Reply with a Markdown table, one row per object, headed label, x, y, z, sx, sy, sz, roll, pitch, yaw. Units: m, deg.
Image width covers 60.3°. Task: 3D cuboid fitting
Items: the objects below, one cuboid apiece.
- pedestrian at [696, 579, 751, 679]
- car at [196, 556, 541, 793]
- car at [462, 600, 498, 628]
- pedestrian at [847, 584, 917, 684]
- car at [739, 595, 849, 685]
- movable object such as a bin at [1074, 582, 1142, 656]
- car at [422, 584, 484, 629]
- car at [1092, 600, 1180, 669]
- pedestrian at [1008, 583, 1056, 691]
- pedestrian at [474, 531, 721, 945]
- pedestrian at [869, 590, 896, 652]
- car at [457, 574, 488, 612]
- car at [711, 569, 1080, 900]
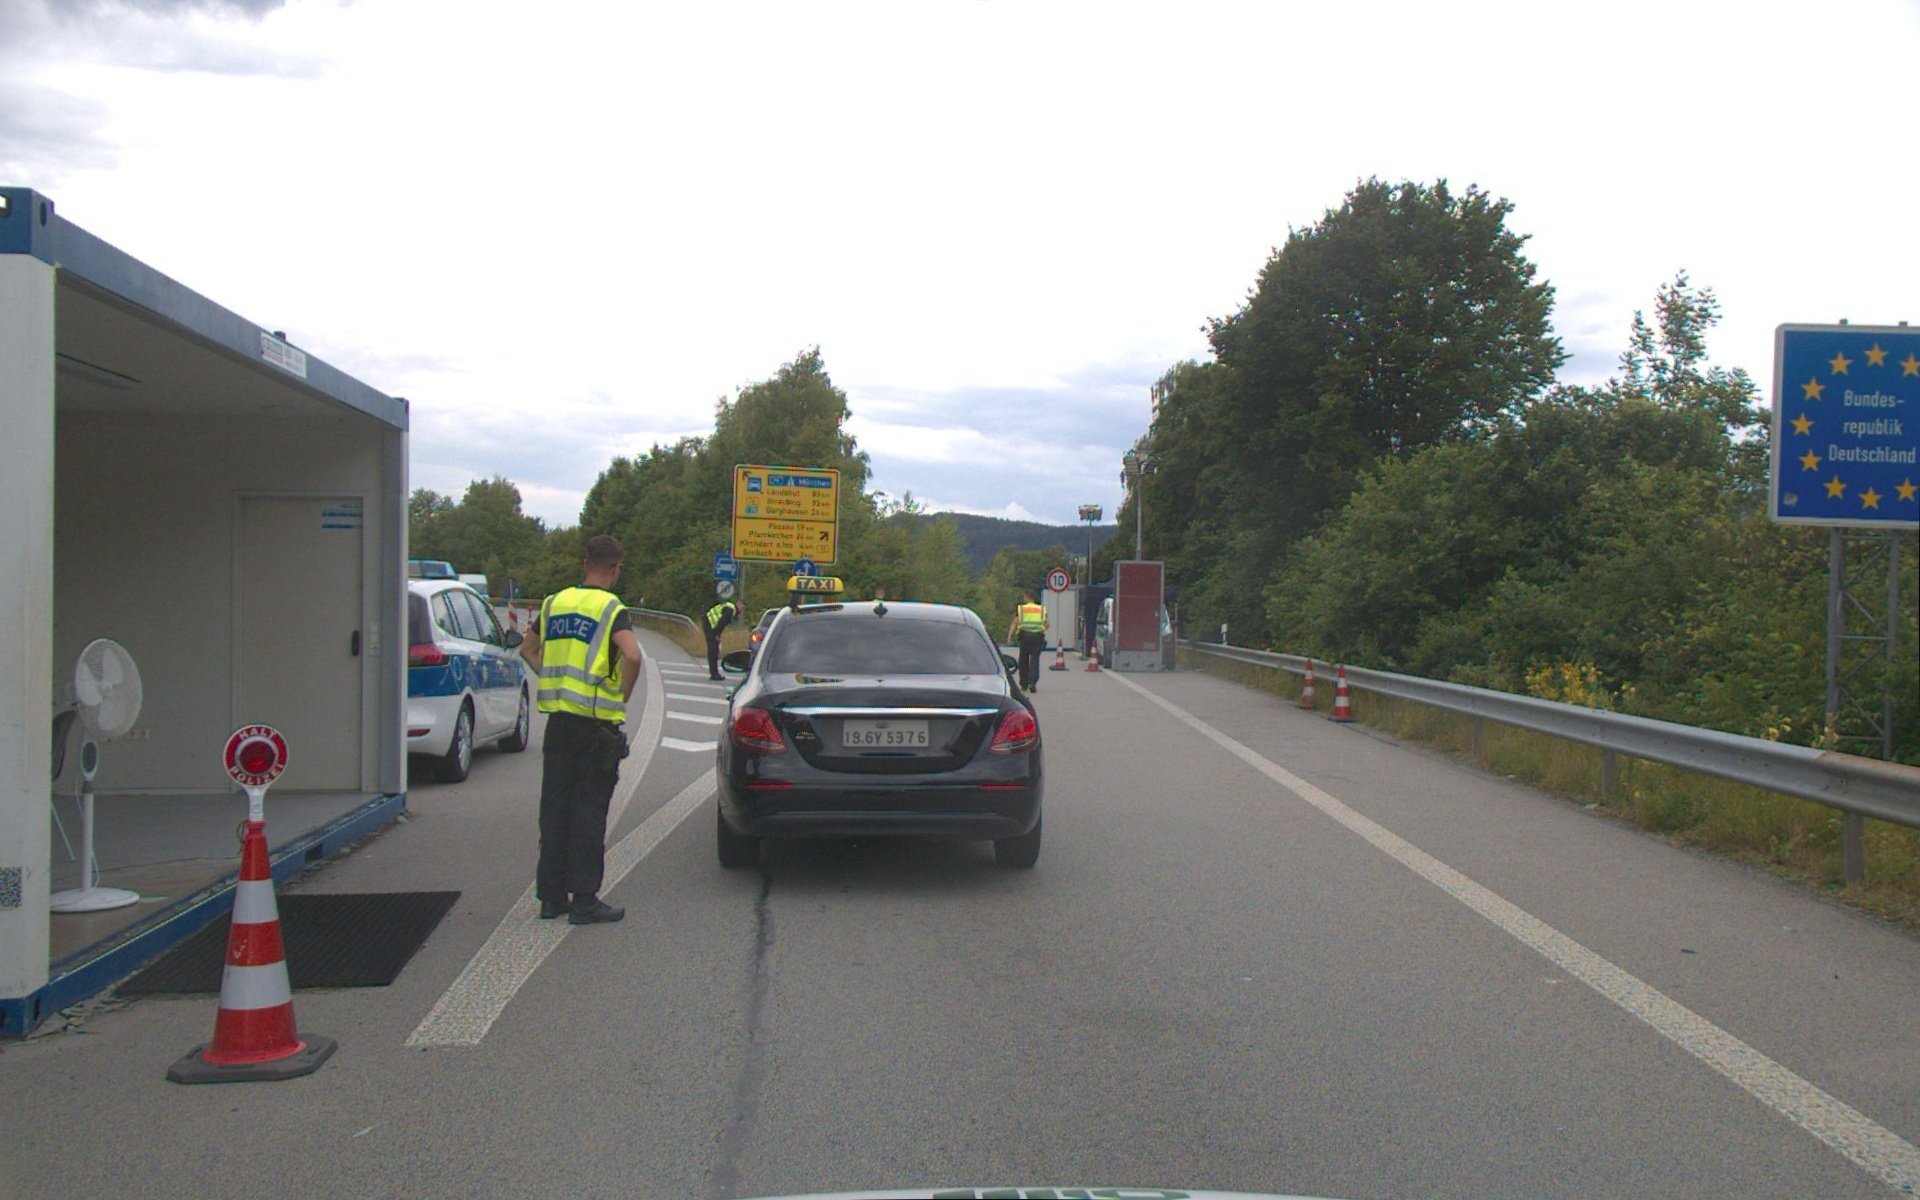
| label | x | y | z | sx | sy | sz | roll | pitch | yaw |
| --- | --- | --- | --- | --- | --- | --- | --- | --- | --- |
| pedestrian | -4.328 | 0.526 | 30.334 | 0.892 | 1.800 | 0.911 | 1 | 0 | -4 |
| car | -4.957 | 0.564 | 14.464 | 1.832 | 1.774 | 4.004 | 1 | 0 | -5 |
| car | -26.515 | 0.774 | 91.485 | 1.821 | 1.488 | 3.983 | 1 | 0 | -16 |
| pedestrian | -1.380 | 0.588 | 29.109 | 0.900 | 1.727 | 0.903 | 1 | 0 | -32 |
| car | -2.974 | 0.682 | 30.279 | 1.818 | 1.524 | 4.253 | 0 | 0 | -3 |
| movable object such as a bin | 4.819 | 0.597 | 54.239 | 1.952 | 2.320 | 4.168 | 1 | 0 | 2 |
| car | -17.795 | 0.223 | 58.191 | 1.824 | 1.524 | 4.241 | 1 | 0 | -14 |
| car | 4.775 | 0.892 | 45.394 | 1.877 | 1.707 | 5.083 | 2 | 0 | 1 |
| pedestrian | 1.265 | 0.640 | 29.092 | 0.796 | 1.862 | 0.809 | 0 | 0 | -1 |
| pedestrian | -1.645 | 0.584 | 7.549 | 0.747 | 1.748 | 0.815 | 0 | -1 | 36 |
| pedestrian | -2.512 | 0.686 | 53.642 | 0.650 | 1.995 | 0.760 | 0 | 0 | 15 |
| car | -30.018 | -0.441 | 101.876 | 1.825 | 2.261 | 4.237 | 1 | 0 | -16 |
| car | -0.505 | 0.664 | 10.378 | 1.819 | 1.623 | 4.370 | 1 | 0 | -5 |
